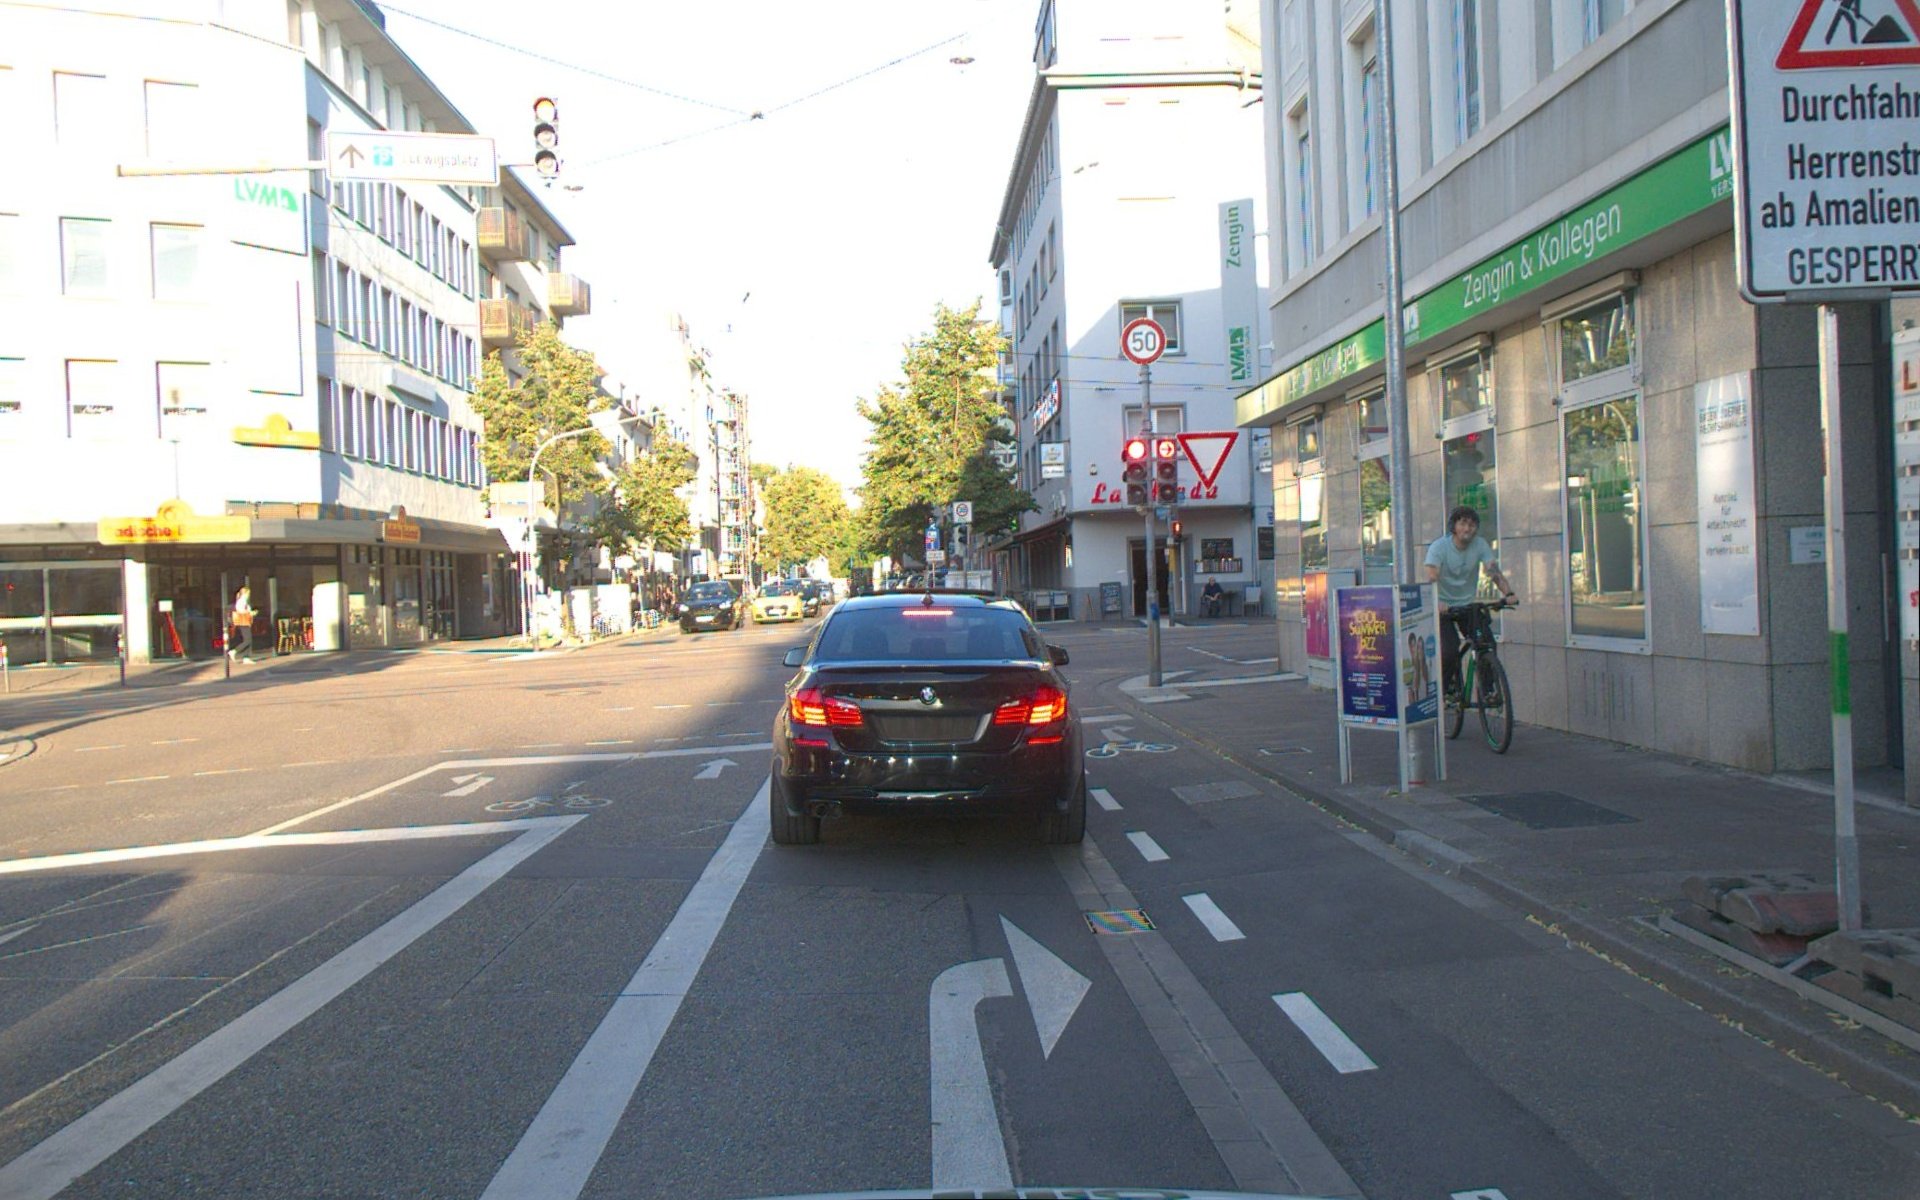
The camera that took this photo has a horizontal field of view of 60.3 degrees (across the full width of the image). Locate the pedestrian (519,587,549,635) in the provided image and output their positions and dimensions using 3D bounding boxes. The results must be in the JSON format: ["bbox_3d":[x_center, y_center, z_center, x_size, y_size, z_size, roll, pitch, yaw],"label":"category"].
[{"bbox_3d":[-15.365,0.390,59.667,0.807,1.705,0.871,-2,0,-3],"label":"pedestrian"}]

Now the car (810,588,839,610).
[{"bbox_3d":[-9.092,-0.079,110.549,1.701,1.315,3.993,-2,1,-8],"label":"car"}]

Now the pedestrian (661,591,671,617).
[{"bbox_3d":[-16.783,0.218,94.484,0.435,1.441,0.525,-2,0,-5],"label":"pedestrian"}]

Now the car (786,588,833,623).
[{"bbox_3d":[-6.204,0.216,67.765,1.701,1.315,3.993,-2,1,-8],"label":"car"}]

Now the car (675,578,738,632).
[{"bbox_3d":[-8.463,0.145,55.495,1.956,1.646,3.993,-2,1,-8],"label":"car"}]

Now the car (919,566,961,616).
[{"bbox_3d":[-0.810,-0.344,64.416,1.393,1.887,3.049,-1,0,-5],"label":"car"}]

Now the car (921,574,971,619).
[{"bbox_3d":[-0.524,-0.115,58.022,1.593,1.497,3.393,-1,0,-3],"label":"car"}]

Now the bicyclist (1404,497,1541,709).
[{"bbox_3d":[3.889,0.018,12.608,0.707,1.534,0.899,-2,0,-1],"label":"bicyclist"}]

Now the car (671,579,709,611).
[{"bbox_3d":[-13.397,-0.241,82.204,1.701,1.487,3.993,-2,1,-8],"label":"car"}]

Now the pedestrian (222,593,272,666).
[{"bbox_3d":[-15.975,0.649,37.043,0.935,1.564,0.900,-2,0,-28],"label":"pedestrian"}]

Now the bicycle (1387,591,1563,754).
[{"bbox_3d":[3.894,0.507,12.662,0.676,1.126,1.895,-2,1,-2],"label":"bicycle"}]

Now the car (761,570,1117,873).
[{"bbox_3d":[-0.226,0.604,10.938,1.866,1.567,4.447,-1,1,-3],"label":"car"}]

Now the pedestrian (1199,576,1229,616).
[{"bbox_3d":[7.653,-0.120,49.875,0.683,1.177,0.843,-2,0,-4],"label":"pedestrian"}]

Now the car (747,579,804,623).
[{"bbox_3d":[-6.835,0.019,60.979,1.956,1.467,3.993,-2,1,-8],"label":"car"}]
